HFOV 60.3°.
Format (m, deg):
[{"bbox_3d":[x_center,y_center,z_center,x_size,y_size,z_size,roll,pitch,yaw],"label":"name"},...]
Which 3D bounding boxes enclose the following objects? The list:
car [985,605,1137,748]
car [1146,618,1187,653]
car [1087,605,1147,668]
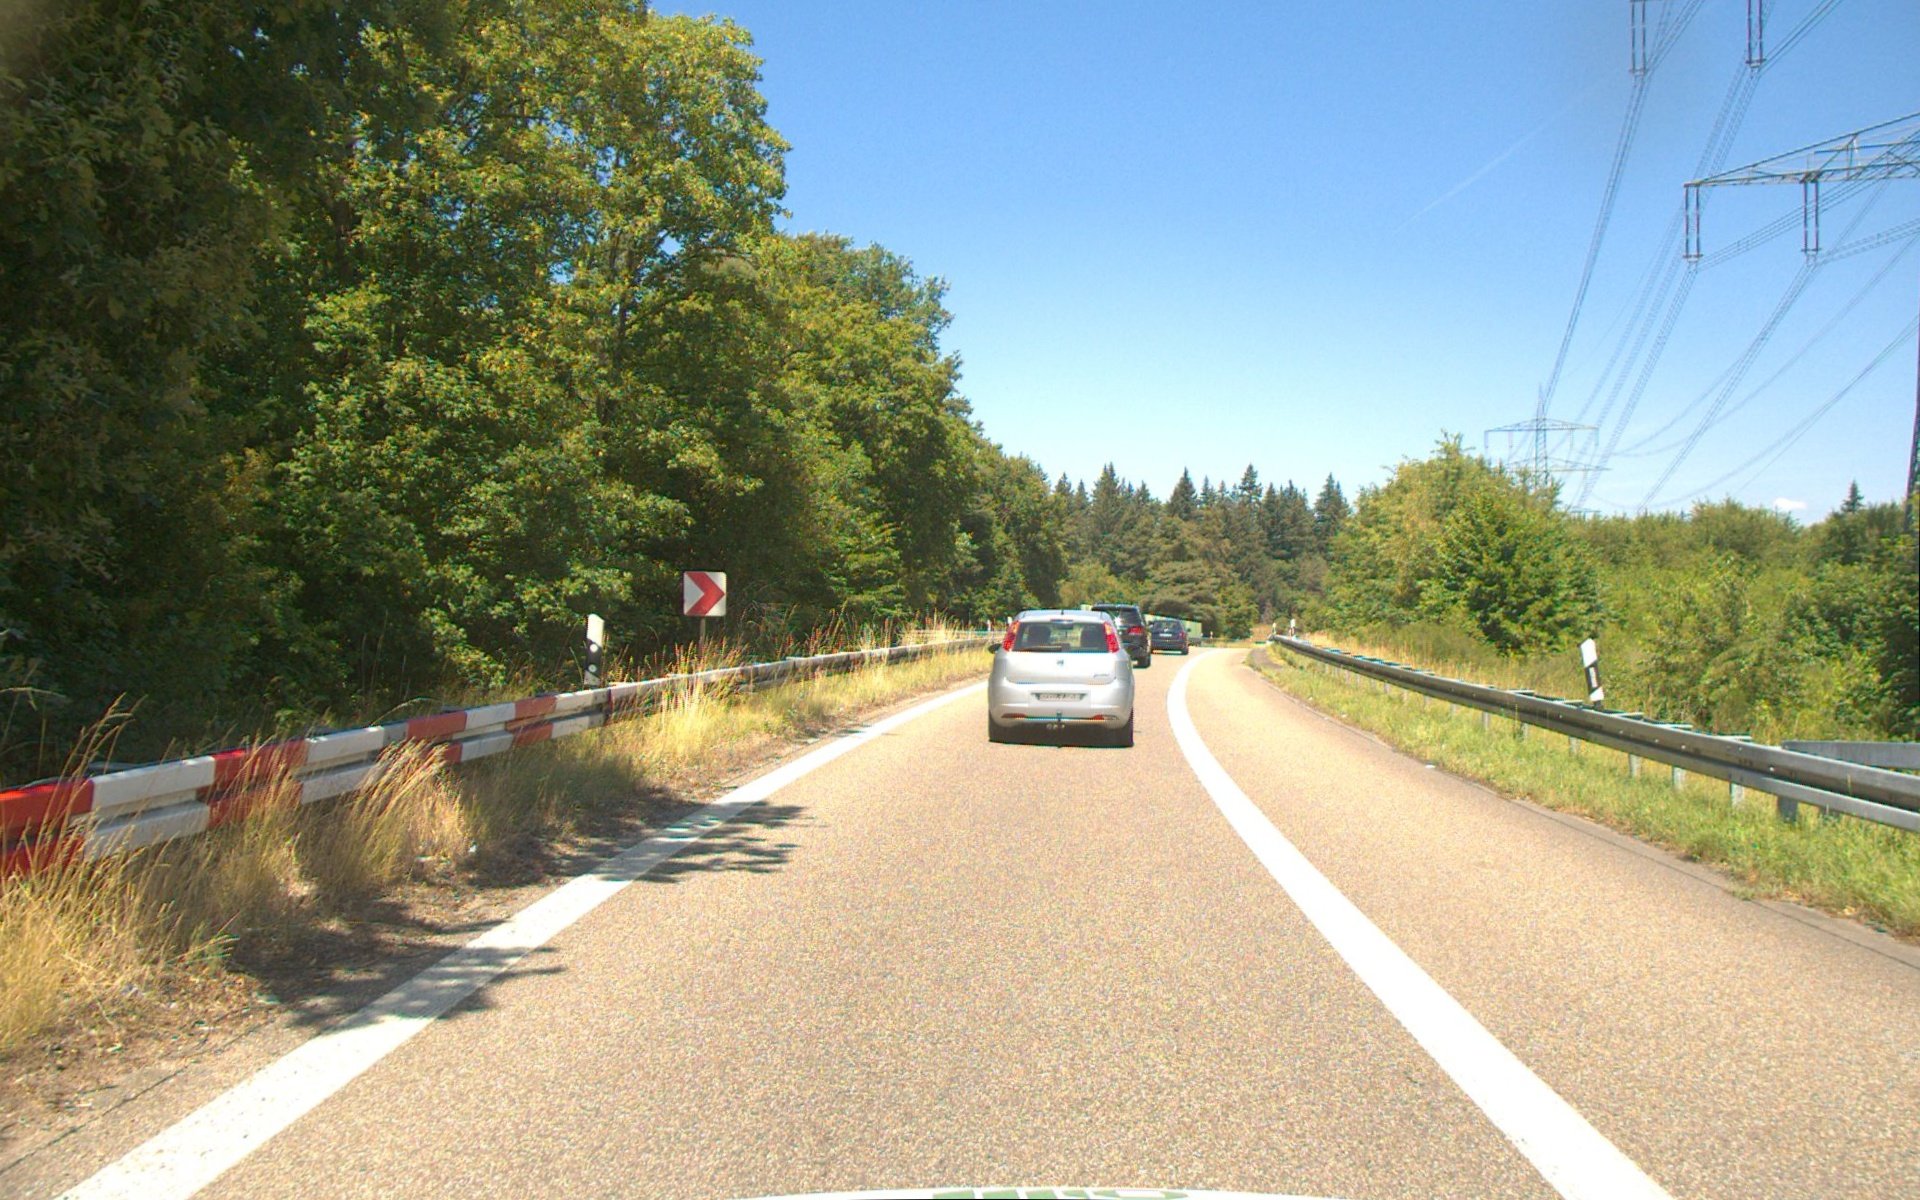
[{"bbox_3d":[1.256,0.835,19.566,1.605,1.493,3.421,2,0,6],"label":"car"},{"bbox_3d":[8.608,1.459,69.060,1.605,1.366,3.576,2,0,7],"label":"car"},{"bbox_3d":[4.498,1.018,47.156,1.605,1.682,3.576,2,0,6],"label":"car"}]
